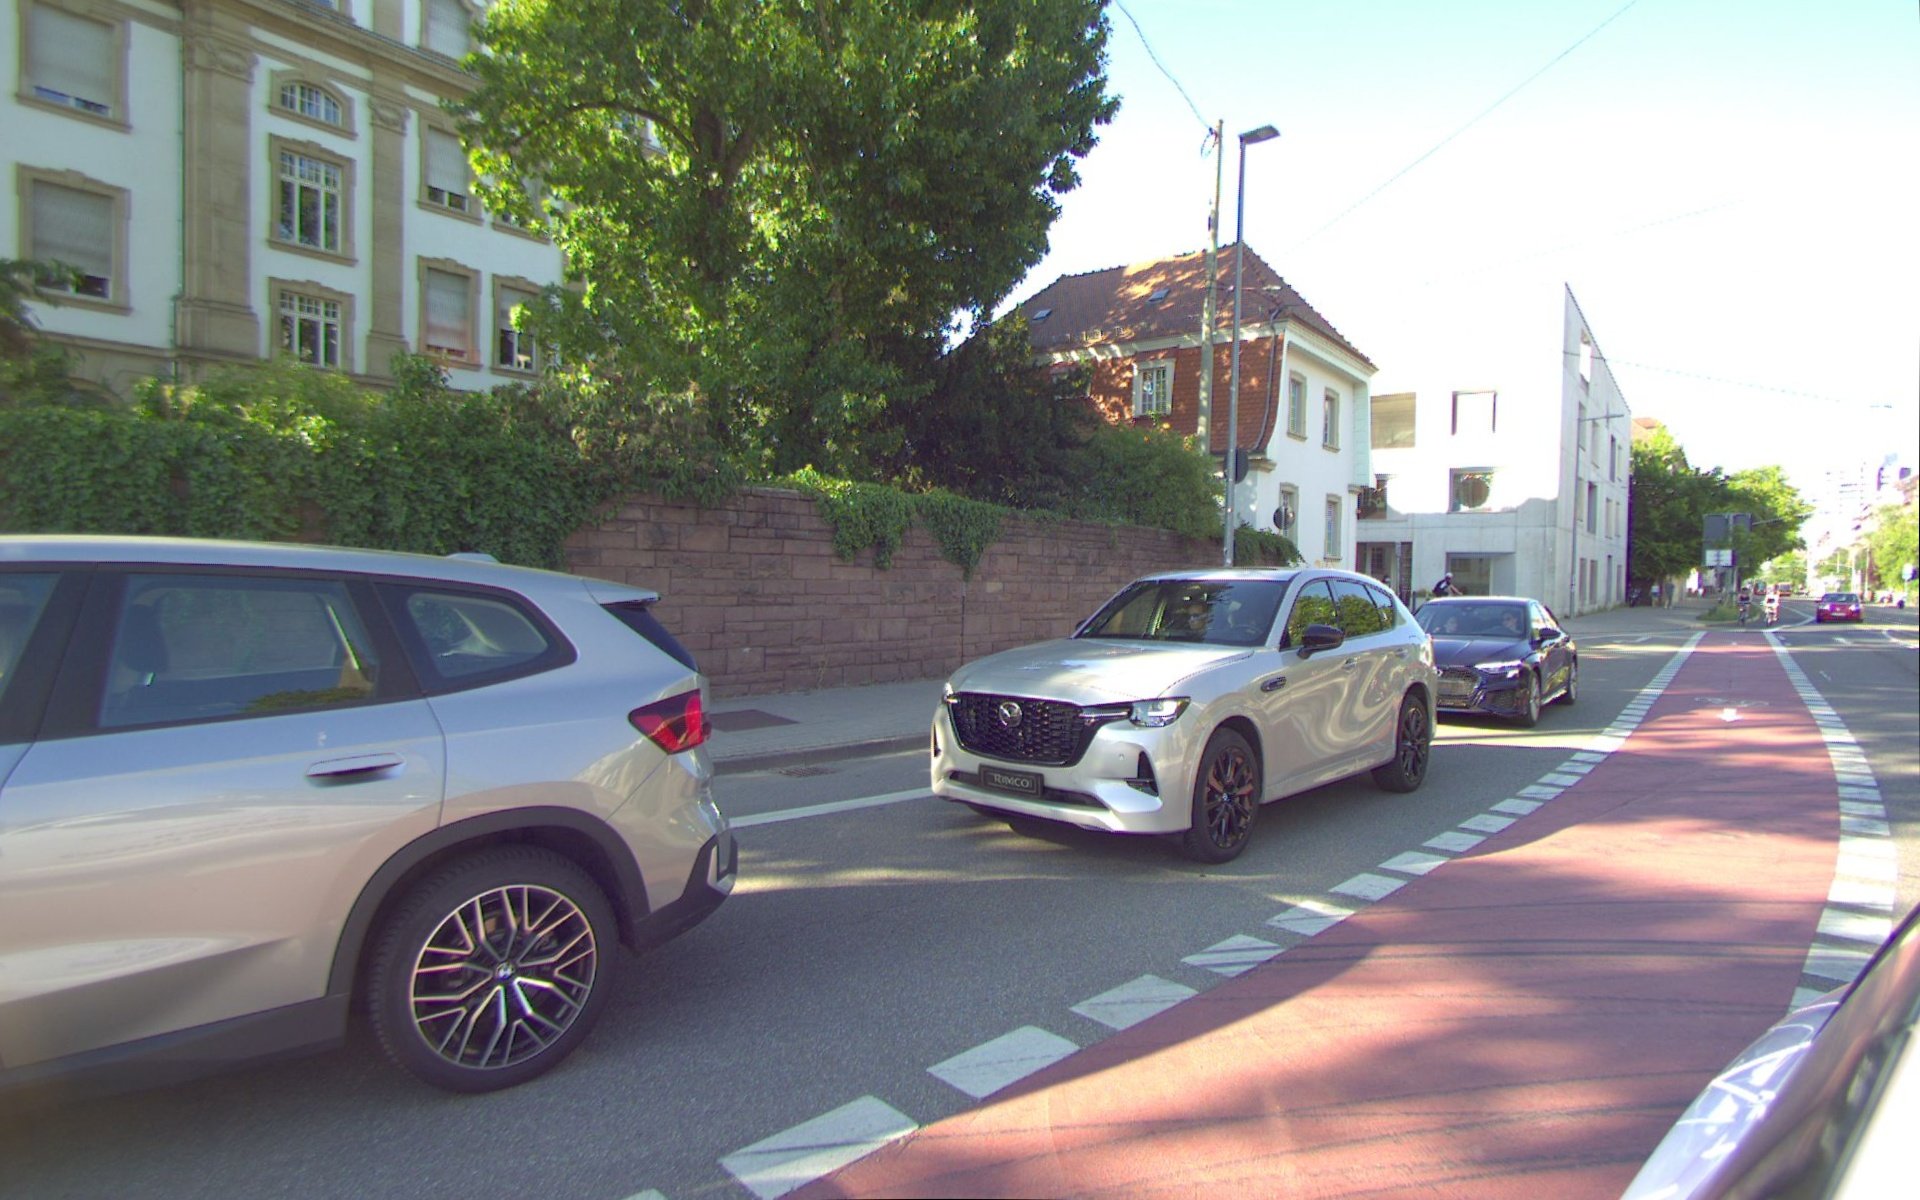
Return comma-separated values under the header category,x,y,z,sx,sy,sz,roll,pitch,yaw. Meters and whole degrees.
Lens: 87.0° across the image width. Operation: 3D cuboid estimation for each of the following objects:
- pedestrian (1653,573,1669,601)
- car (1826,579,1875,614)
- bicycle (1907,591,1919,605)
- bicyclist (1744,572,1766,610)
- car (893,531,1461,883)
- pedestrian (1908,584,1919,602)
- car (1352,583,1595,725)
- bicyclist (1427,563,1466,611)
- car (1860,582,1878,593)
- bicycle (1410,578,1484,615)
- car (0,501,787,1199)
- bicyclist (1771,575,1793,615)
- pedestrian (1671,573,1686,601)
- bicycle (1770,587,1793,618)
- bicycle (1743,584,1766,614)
category,x,y,z,sx,sy,sz,roll,pitch,yaw
pedestrian,43.203,-0.814,62.371,0.673,1.668,0.806,1,1,40
car,42.618,-0.189,48.426,1.644,1.580,3.593,0,0,44
bicycle,86.573,-0.202,91.869,2.414,1.266,0.675,0,1,-42
bicyclist,35.215,-0.395,44.831,0.673,1.667,1.014,2,2,40
car,1.812,0.492,7.228,1.940,1.713,4.460,0,1,44
pedestrian,86.587,-0.649,91.868,0.803,1.668,0.675,0,1,-41
car,6.414,0.527,12.438,1.782,1.451,3.941,0,1,41
bicyclist,17.464,-0.473,36.362,1.008,1.667,0.677,1,1,-10
car,132.960,-1.888,148.011,1.640,1.580,3.602,0,0,36
bicycle,17.502,-0.117,36.378,2.406,1.266,0.677,1,1,-9
car,-2.829,0.578,2.957,4.248,1.614,1.792,0,0,-36
bicyclist,35.115,-0.233,43.243,0.673,1.667,1.014,2,2,40
pedestrian,43.914,-0.801,61.880,0.673,1.668,0.806,1,1,40
bicycle,35.132,0.107,43.278,0.673,1.265,2.421,2,2,40
bicycle,35.230,-0.071,44.863,0.673,1.265,2.421,2,2,40
